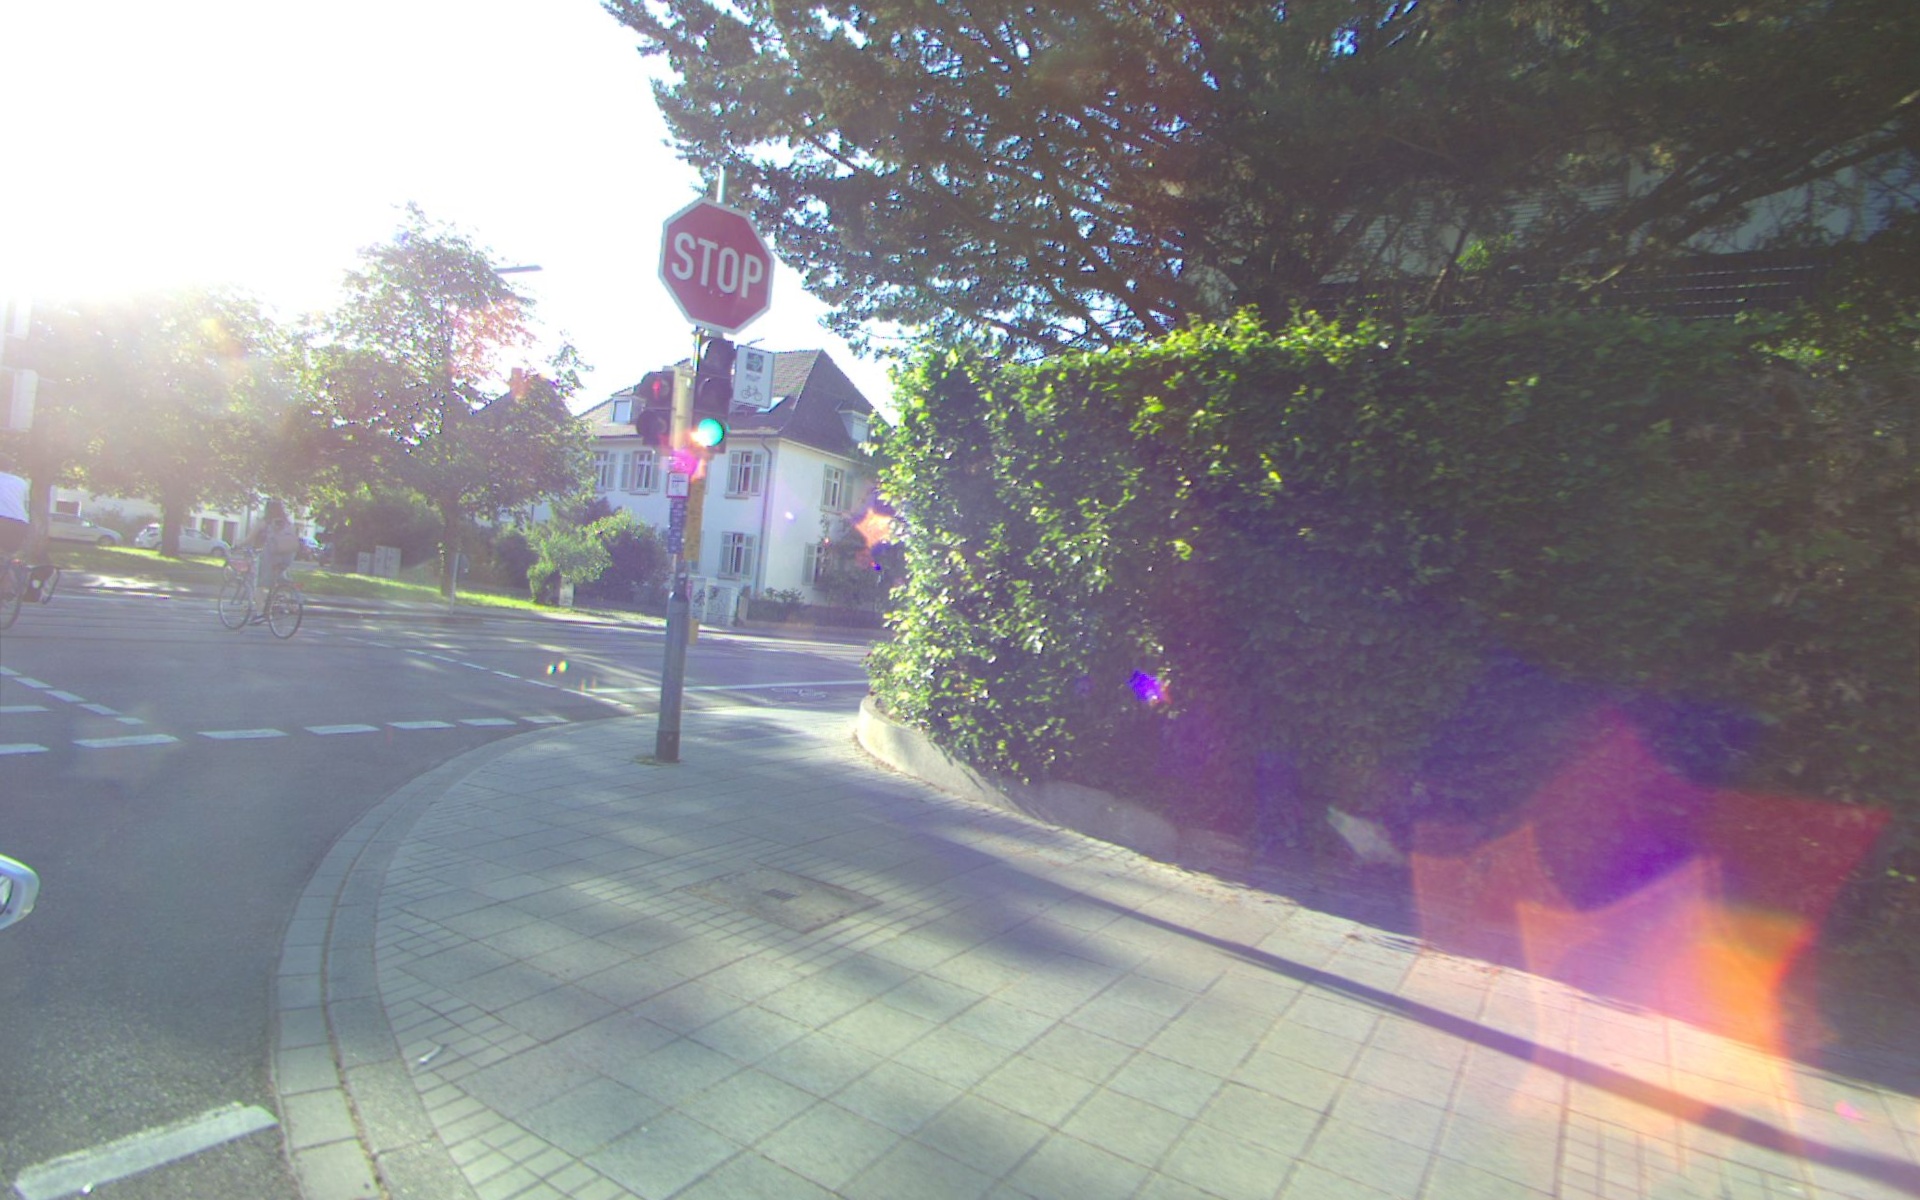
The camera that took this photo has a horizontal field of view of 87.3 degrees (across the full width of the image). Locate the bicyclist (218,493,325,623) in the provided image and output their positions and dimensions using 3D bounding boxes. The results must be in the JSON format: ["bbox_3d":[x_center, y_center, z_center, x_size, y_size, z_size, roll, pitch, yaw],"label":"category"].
[{"bbox_3d":[-9.089,-0.550,13.288,0.879,1.580,0.713,5,-2,32],"label":"bicyclist"}]

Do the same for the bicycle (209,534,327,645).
[{"bbox_3d":[-9.192,-0.153,13.336,1.932,1.197,0.492,9,0,34],"label":"bicycle"}]

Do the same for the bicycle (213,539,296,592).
[{"bbox_3d":[-17.210,-0.829,24.571,0.459,1.102,1.525,5,-1,29],"label":"bicycle"}]

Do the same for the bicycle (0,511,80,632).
[{"bbox_3d":[-10.586,-0.364,10.917,1.869,1.197,0.575,6,-2,18],"label":"bicycle"}]

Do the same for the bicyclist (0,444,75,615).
[{"bbox_3d":[-10.479,-0.778,10.913,0.877,1.751,0.818,6,-2,17],"label":"bicyclist"}]

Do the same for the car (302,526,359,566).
[{"bbox_3d":[-47.850,-4.073,76.581,2.079,2.363,4.513,7,-3,-12],"label":"car"}]

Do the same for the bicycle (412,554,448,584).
[{"bbox_3d":[-25.051,-1.469,47.550,1.921,1.253,0.450,6,0,29],"label":"bicycle"}]

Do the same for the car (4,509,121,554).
[{"bbox_3d":[-40.843,-3.111,45.862,1.578,1.534,3.561,5,-1,28],"label":"car"}]

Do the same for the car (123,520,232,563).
[{"bbox_3d":[-38.917,-2.872,50.115,1.498,1.541,3.931,4,-3,28],"label":"car"}]

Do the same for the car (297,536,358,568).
[{"bbox_3d":[-38.681,-2.900,61.615,1.969,1.571,3.987,6,0,-16],"label":"car"}]
